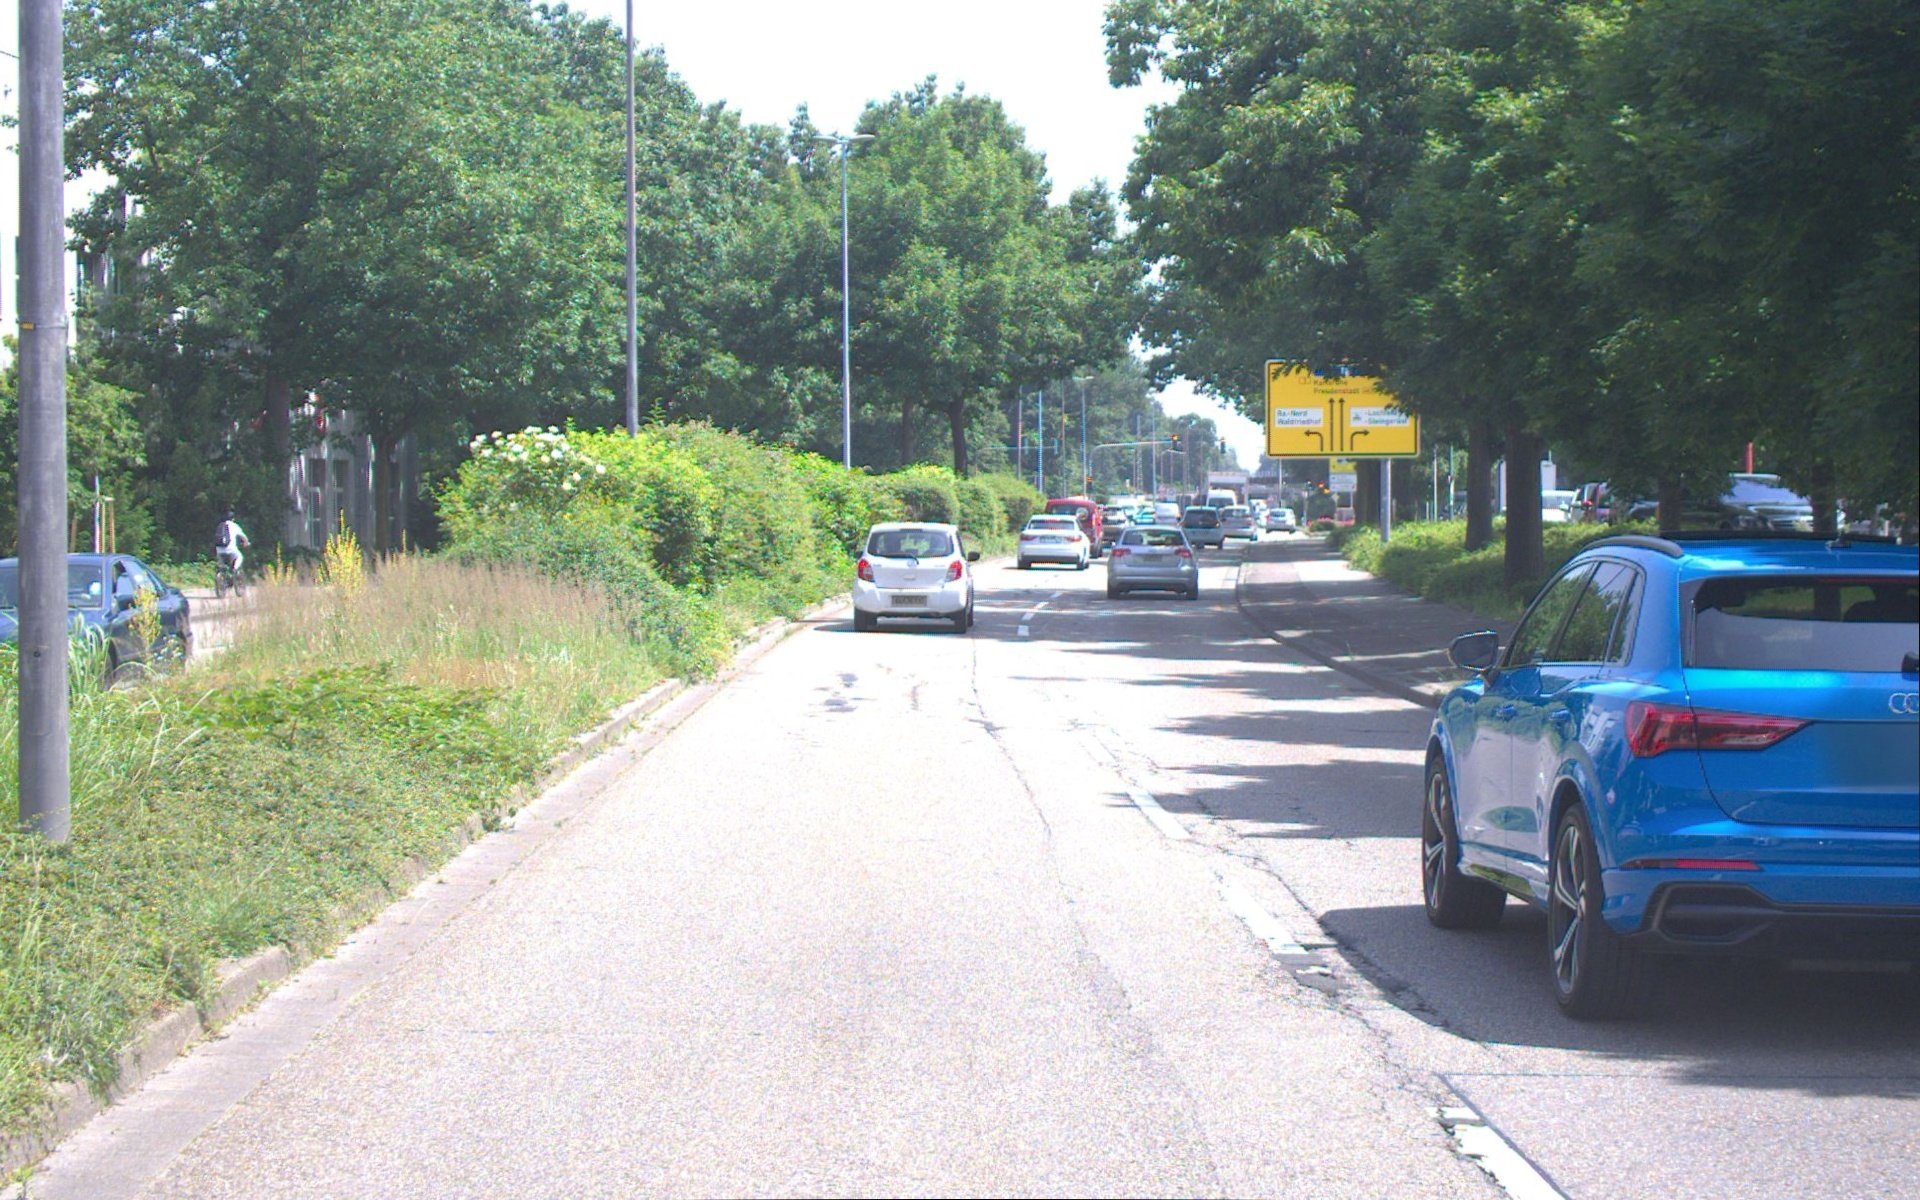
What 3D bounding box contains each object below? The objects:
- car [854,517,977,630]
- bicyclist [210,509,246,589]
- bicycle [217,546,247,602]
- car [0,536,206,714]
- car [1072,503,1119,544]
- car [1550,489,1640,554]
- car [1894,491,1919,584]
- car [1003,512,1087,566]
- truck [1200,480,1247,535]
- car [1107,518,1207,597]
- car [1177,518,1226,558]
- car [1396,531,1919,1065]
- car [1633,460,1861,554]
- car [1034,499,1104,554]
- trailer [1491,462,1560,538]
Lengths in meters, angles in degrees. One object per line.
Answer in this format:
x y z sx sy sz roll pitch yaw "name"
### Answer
-0.606 -0.397 49.200 1.638 1.546 3.325 0 1 1 "car"
-14.125 -0.984 66.341 0.545 1.504 0.343 -3 1 0 "bicyclist"
-14.071 -0.501 66.423 0.346 1.064 0.923 -2 1 0 "bicycle"
-8.110 0.191 30.882 1.722 1.412 4.247 -3 2 -1 "car"
4.707 -2.642 119.505 1.487 1.387 3.308 1 1 0 "car"
12.733 -1.568 69.071 1.619 1.248 3.762 1 1 8 "car"
15.722 -0.933 48.718 1.947 1.347 4.715 -2 1 -32 "car"
2.220 -1.578 88.746 1.885 1.349 3.999 1 1 5 "car"
17.334 -6.080 225.664 2.932 3.490 9.157 0 2 5 "truck"
3.790 -0.828 66.595 1.866 1.468 4.000 1 1 3 "car"
8.610 -2.225 122.698 1.441 1.343 3.460 -2 1 0 "car"
2.789 0.554 12.432 1.808 1.587 4.350 1 1 -1 "car"
12.867 -1.512 56.619 1.905 1.446 5.603 0 1 -6 "car"
3.331 -2.227 104.382 1.885 1.603 3.999 1 1 5 "car"
15.620 -2.781 95.132 1.701 2.048 5.482 0 2 7 "trailer"
